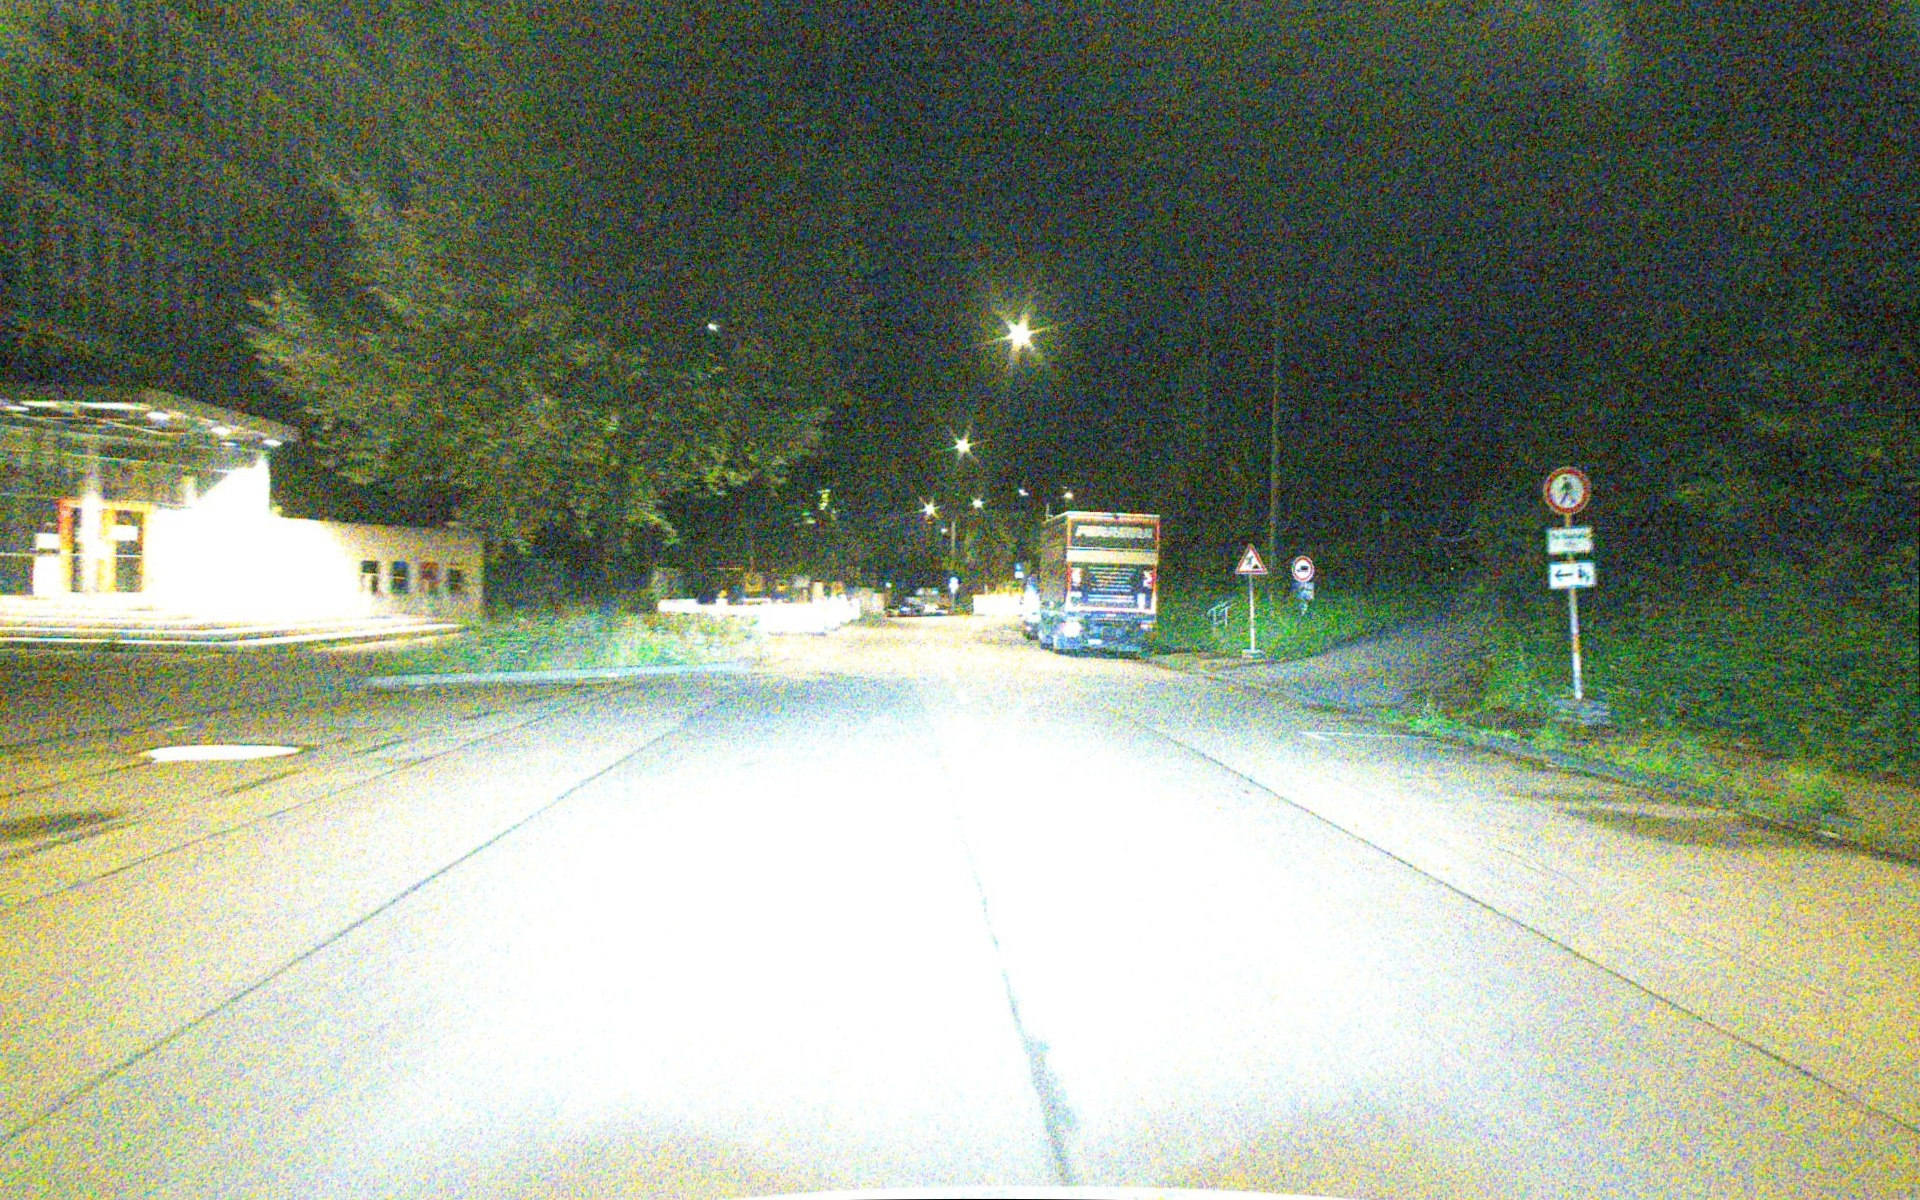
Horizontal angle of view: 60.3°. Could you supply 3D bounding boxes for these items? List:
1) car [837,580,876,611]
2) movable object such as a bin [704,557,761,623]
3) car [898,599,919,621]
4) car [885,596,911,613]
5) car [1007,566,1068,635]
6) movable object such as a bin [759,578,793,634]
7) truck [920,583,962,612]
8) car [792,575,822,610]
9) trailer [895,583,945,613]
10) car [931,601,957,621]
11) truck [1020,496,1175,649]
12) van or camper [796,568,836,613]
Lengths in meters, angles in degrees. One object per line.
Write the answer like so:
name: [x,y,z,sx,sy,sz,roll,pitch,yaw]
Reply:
car: [-11.021,-0.420,177.340,2.465,3.227,7.143,0,-1,11]
movable object such as a bin: [-9.038,-0.365,65.620,1.527,2.511,2.819,1,-1,-23]
car: [-4.374,0.839,140.949,1.686,1.690,3.998,3,-2,-2]
car: [-7.192,0.551,193.305,1.951,1.729,4.209,2,-2,12]
car: [3.064,0.015,66.464,2.065,2.560,6.371,3,0,0]
movable object such as a bin: [-9.466,0.279,85.060,1.541,2.782,3.693,-1,0,-9]
truck: [-2.387,-0.289,212.054,1.953,3.463,8.978,3,0,21]
car: [-13.597,-0.617,147.249,2.469,2.979,7.195,0,-1,-4]
trailer: [-3.078,-0.117,126.163,1.542,2.199,5.170,1,-1,-29]
car: [-1.604,1.106,169.570,1.684,1.853,4.003,2,-2,13]
truck: [3.865,-0.687,49.021,3.258,3.936,9.322,3,-1,-2]
van or camper: [-10.635,-0.641,122.734,2.468,3.149,7.443,0,-1,-1]
